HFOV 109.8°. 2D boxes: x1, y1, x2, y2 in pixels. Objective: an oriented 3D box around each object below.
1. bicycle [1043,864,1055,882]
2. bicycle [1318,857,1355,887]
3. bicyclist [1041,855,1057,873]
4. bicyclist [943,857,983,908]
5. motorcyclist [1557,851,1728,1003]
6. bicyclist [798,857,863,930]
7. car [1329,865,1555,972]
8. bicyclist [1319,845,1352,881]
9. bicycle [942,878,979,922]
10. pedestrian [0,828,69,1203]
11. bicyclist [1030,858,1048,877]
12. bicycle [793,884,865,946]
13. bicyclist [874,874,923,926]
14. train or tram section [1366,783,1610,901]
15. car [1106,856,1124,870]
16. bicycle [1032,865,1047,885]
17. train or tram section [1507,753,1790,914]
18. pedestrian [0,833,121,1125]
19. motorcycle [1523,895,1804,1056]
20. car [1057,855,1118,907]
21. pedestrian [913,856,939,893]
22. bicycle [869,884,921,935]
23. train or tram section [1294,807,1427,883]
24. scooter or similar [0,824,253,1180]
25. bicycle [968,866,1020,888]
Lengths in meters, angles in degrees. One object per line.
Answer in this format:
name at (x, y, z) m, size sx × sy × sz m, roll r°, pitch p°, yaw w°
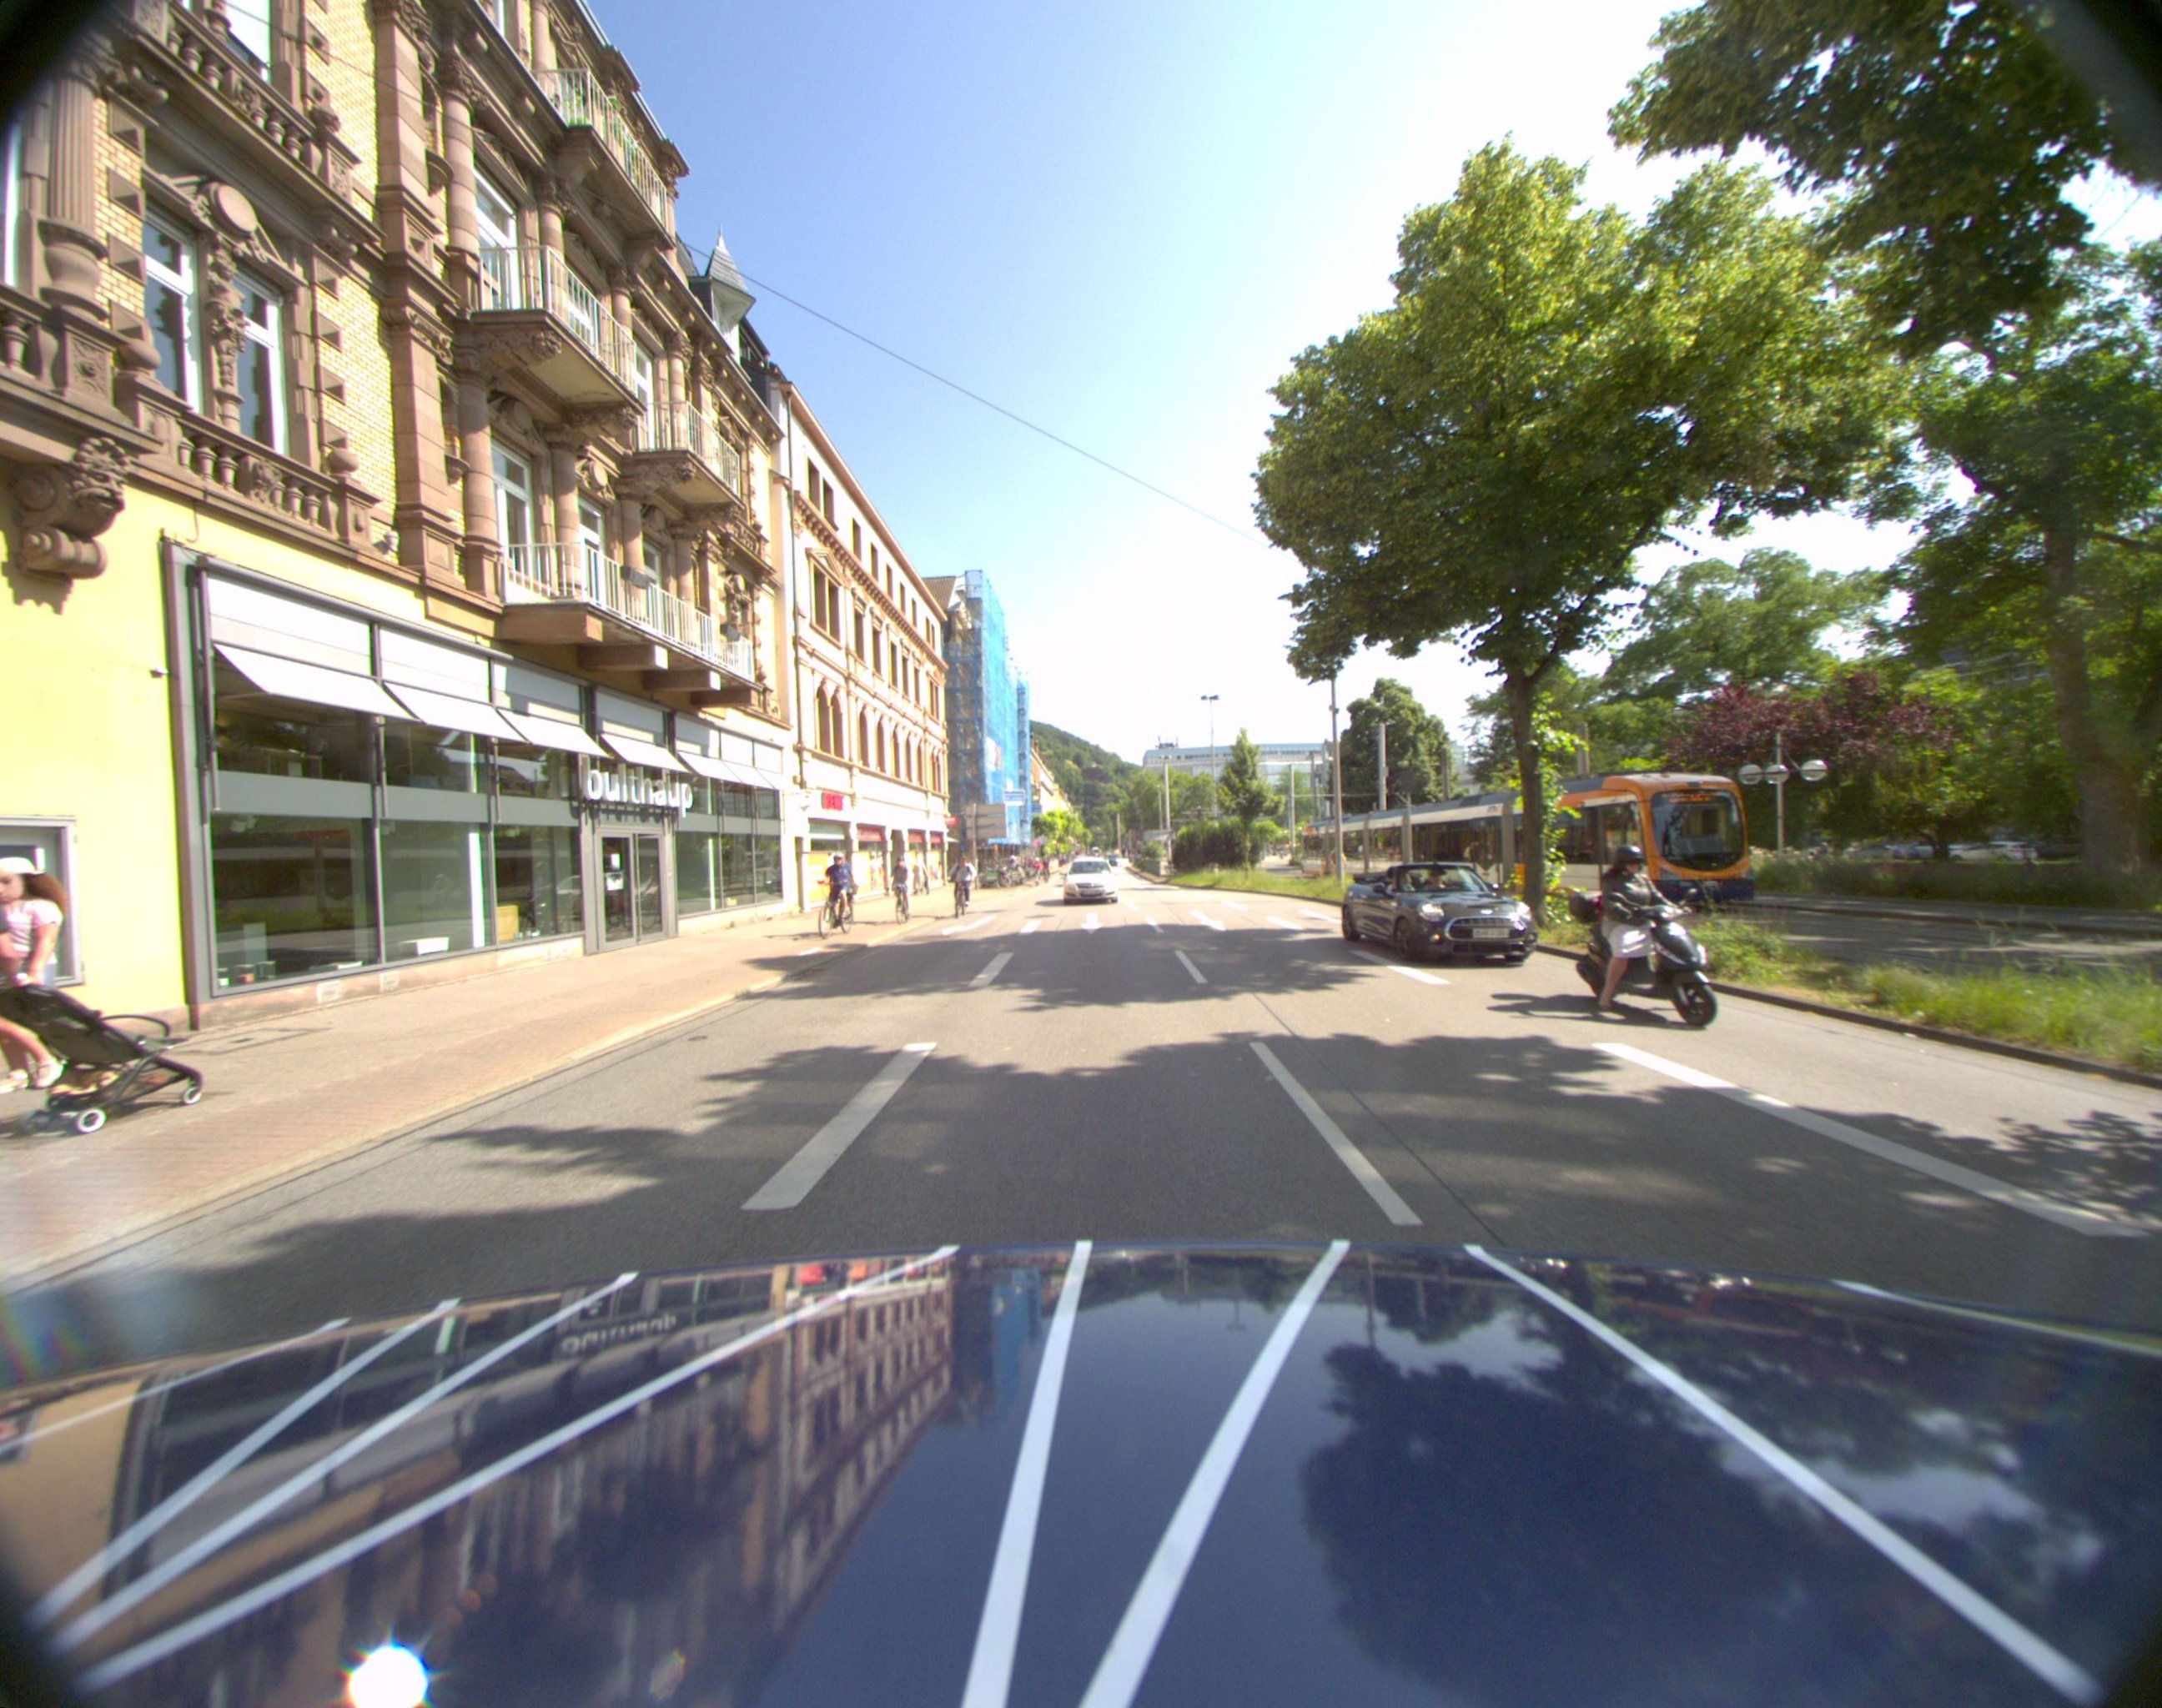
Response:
bicycle at (-2.011, 1.173, 48.076) m, size 0.643 × 1.076 × 2.496 m, roll -1°, pitch 0°, yaw 0°
bicycle at (10.248, 0.699, 30.559) m, size 0.643 × 1.077 × 2.496 m, roll -2°, pitch 1°, yaw 0°
bicyclist at (-2.008, 0.639, 48.041) m, size 0.912 × 1.076 × 1.233 m, roll -1°, pitch 0°, yaw 0°
bicyclist at (-3.335, 0.790, 21.549) m, size 0.912 × 1.385 × 1.233 m, roll -1°, pitch 0°, yaw 0°
motorcyclist at (5.356, 0.660, 7.321) m, size 0.902 × 1.350 × 0.993 m, roll -1°, pitch 0°, yaw 0°
bicyclist at (-5.179, 0.797, 15.803) m, size 0.912 × 1.428 × 1.233 m, roll -1°, pitch 0°, yaw 0°
car at (5.294, 0.859, 11.747) m, size 1.637 × 1.301 × 3.914 m, roll -1°, pitch 0°, yaw 0°
bicyclist at (10.237, 0.346, 30.624) m, size 0.912 × 1.385 × 1.233 m, roll -1°, pitch 0°, yaw 0°
bicycle at (-3.378, 1.268, 21.520) m, size 0.643 × 1.076 × 2.496 m, roll -1°, pitch 0°, yaw 0°
pedestrian at (-6.177, 0.865, 3.905) m, size 0.813 × 2.002 × 0.815 m, roll -1°, pitch 1°, yaw 0°
bicyclist at (-2.366, 0.749, 43.279) m, size 0.912 × 1.062 × 1.233 m, roll -1°, pitch 0°, yaw 0°
bicycle at (-5.221, 1.225, 15.915) m, size 0.643 × 1.076 × 2.496 m, roll -1°, pitch 0°, yaw 0°
bicyclist at (-4.599, 1.152, 19.253) m, size 0.912 × 1.227 × 1.233 m, roll -1°, pitch 0°, yaw 0°
train or tram section at (14.193, -0.369, 28.348) m, size 2.766 × 3.383 × 12.413 m, roll -1°, pitch 0°, yaw 2°
car at (4.075, 1.056, 91.533) m, size 1.998 × 1.546 × 4.497 m, roll -1°, pitch 0°, yaw 0°
bicycle at (-2.359, 1.175, 43.196) m, size 0.643 × 1.076 × 2.496 m, roll -1°, pitch 0°, yaw 0°
train or tram section at (13.915, -0.449, 19.372) m, size 2.767 × 3.383 × 5.887 m, roll -2°, pitch 0°, yaw 0°
pedestrian at (-7.807, 0.849, 5.445) m, size 0.813 × 2.002 × 0.815 m, roll 1°, pitch 1°, yaw 0°
motorcycle at (5.380, 1.044, 7.302) m, size 0.902 × 1.156 × 2.353 m, roll -1°, pitch 0°, yaw 0°
car at (0.208, 0.827, 25.537) m, size 1.802 × 1.492 × 4.497 m, roll -2°, pitch 0°, yaw 0°
pedestrian at (-6.812, 0.891, 33.440) m, size 0.912 × 1.591 × 1.233 m, roll 0°, pitch 0°, yaw 0°
bicycle at (-4.625, 1.354, 19.065) m, size 0.643 × 1.076 × 2.496 m, roll -1°, pitch 0°, yaw 0°
train or tram section at (14.480, -0.423, 40.803) m, size 2.766 × 3.383 × 12.412 m, roll -1°, pitch 0°, yaw 1°
scooter or similar at (-6.229, 0.839, 4.819) m, size 0.694 × 2.002 × 1.095 m, roll -1°, pitch 1°, yaw 0°
bicycle at (-4.444, 1.179, 38.857) m, size 2.493 × 1.076 × 0.644 m, roll -1°, pitch 1°, yaw 5°
